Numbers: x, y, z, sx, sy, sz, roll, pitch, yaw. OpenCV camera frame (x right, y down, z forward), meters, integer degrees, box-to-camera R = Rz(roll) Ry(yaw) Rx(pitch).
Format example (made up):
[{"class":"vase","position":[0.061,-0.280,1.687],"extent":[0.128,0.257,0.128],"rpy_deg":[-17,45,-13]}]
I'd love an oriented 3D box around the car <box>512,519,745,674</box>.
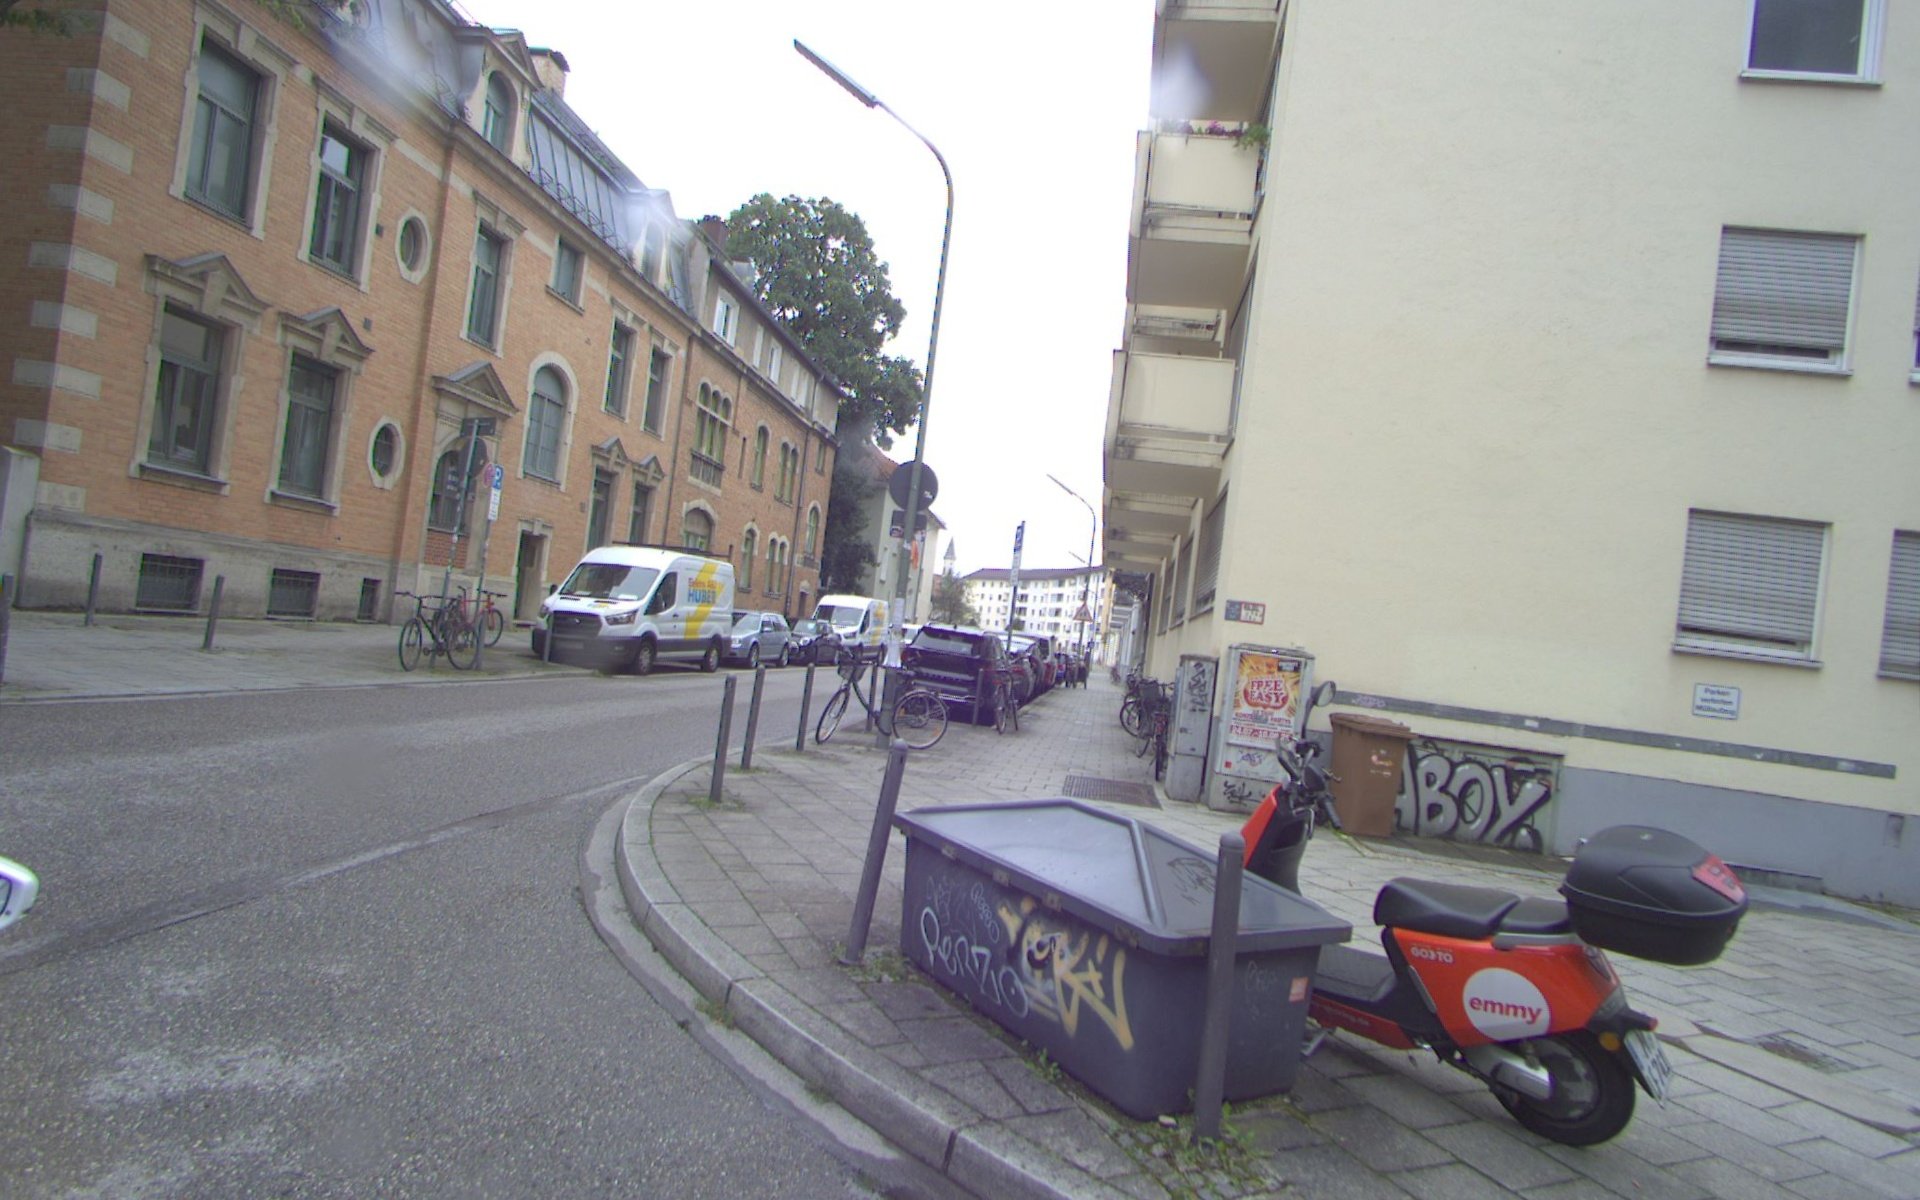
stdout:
[{"class":"car","position":[-6.283,0.093,20.006],"extent":[1.960,2.496,5.479],"rpy_deg":[5,-3,8]}]

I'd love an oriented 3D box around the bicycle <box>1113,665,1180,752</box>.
[{"class":"bicycle","position":[2.990,1.718,16.279],"extent":[0.676,1.220,1.764],"rpy_deg":[7,-2,3]}]

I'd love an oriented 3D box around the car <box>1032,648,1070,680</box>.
[{"class":"car","position":[4.836,3.388,53.115],"extent":[1.622,1.450,4.006],"rpy_deg":[7,-3,9]}]

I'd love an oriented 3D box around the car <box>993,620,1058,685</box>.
[{"class":"car","position":[2.456,1.945,36.599],"extent":[1.840,1.990,4.824],"rpy_deg":[7,-2,7]}]

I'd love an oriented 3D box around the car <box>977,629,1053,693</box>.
[{"class":"car","position":[1.748,1.853,30.518],"extent":[1.830,1.569,4.760],"rpy_deg":[7,-3,7]}]

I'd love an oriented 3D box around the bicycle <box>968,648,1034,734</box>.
[{"class":"bicycle","position":[0.660,1.375,15.398],"extent":[0.570,1.167,1.966],"rpy_deg":[7,-2,12]}]

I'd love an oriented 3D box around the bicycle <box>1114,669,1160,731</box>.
[{"class":"bicycle","position":[3.451,1.932,19.740],"extent":[0.570,1.066,1.840],"rpy_deg":[7,-2,3]}]

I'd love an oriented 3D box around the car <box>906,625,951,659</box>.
[{"class":"car","position":[-1.609,2.255,53.451],"extent":[1.817,1.557,4.005],"rpy_deg":[7,-2,4]}]

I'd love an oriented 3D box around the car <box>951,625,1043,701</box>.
[{"class":"car","position":[1.018,1.558,25.013],"extent":[1.700,1.476,4.422],"rpy_deg":[9,-2,8]}]

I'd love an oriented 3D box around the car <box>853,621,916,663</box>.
[{"class":"car","position":[-3.125,1.805,42.312],"extent":[1.716,1.461,4.006],"rpy_deg":[7,-3,8]}]

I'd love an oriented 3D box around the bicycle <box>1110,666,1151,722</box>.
[{"class":"bicycle","position":[3.652,1.993,21.657],"extent":[0.570,1.066,1.765],"rpy_deg":[7,-2,3]}]

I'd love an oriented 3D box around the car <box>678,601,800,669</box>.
[{"class":"car","position":[-5.560,0.930,25.833],"extent":[1.662,1.471,4.002],"rpy_deg":[5,-2,8]}]

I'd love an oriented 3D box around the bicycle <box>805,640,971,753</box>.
[{"class":"bicycle","position":[-0.859,1.128,11.839],"extent":[1.735,1.078,0.774],"rpy_deg":[8,-2,-14]}]

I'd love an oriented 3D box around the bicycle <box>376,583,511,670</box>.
[{"class":"bicycle","position":[-7.112,0.400,13.963],"extent":[0.570,1.066,1.765],"rpy_deg":[7,-2,12]}]

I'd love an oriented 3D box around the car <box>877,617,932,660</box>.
[{"class":"car","position":[-2.520,1.841,46.888],"extent":[1.792,1.730,4.006],"rpy_deg":[7,-2,6]}]

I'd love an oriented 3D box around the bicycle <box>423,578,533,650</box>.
[{"class":"bicycle","position":[-8.314,0.276,17.448],"extent":[0.570,1.066,1.897],"rpy_deg":[8,-2,12]}]

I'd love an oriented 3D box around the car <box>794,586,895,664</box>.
[{"class":"car","position":[-4.054,0.995,36.432],"extent":[2.103,2.376,5.378],"rpy_deg":[7,-2,8]}]

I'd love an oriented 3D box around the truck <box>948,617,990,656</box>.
[{"class":"truck","position":[0.679,2.617,70.358],"extent":[1.962,2.345,5.418],"rpy_deg":[7,-2,9]}]

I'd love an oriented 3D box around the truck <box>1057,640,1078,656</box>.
[{"class":"truck","position":[17.547,7.800,164.049],"extent":[2.193,2.328,5.288],"rpy_deg":[6,-1,-6]}]

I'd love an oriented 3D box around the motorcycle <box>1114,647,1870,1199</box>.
[{"class":"motorcycle","position":[1.715,1.003,3.543],"extent":[2.055,1.372,0.814],"rpy_deg":[7,-1,41]}]

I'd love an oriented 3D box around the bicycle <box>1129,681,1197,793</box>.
[{"class":"bicycle","position":[2.259,1.474,11.194],"extent":[0.570,1.066,1.765],"rpy_deg":[7,-2,12]}]

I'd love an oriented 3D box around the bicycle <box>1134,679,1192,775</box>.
[{"class":"bicycle","position":[2.625,1.596,12.979],"extent":[0.570,1.066,1.765],"rpy_deg":[7,-2,12]}]

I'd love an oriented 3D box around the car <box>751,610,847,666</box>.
[{"class":"car","position":[-4.882,1.216,31.031],"extent":[1.671,1.448,3.836],"rpy_deg":[6,-3,9]}]

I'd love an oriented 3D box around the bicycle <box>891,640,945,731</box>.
[{"class":"bicycle","position":[-0.637,1.206,14.649],"extent":[0.571,1.167,1.963],"rpy_deg":[7,-2,-4]}]

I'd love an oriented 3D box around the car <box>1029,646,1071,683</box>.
[{"class":"car","position":[4.180,2.994,46.459],"extent":[1.583,1.450,3.625],"rpy_deg":[7,-2,8]}]

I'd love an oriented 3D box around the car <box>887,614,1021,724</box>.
[{"class":"car","position":[0.027,1.309,19.370],"extent":[1.820,1.657,4.557],"rpy_deg":[7,-3,8]}]
